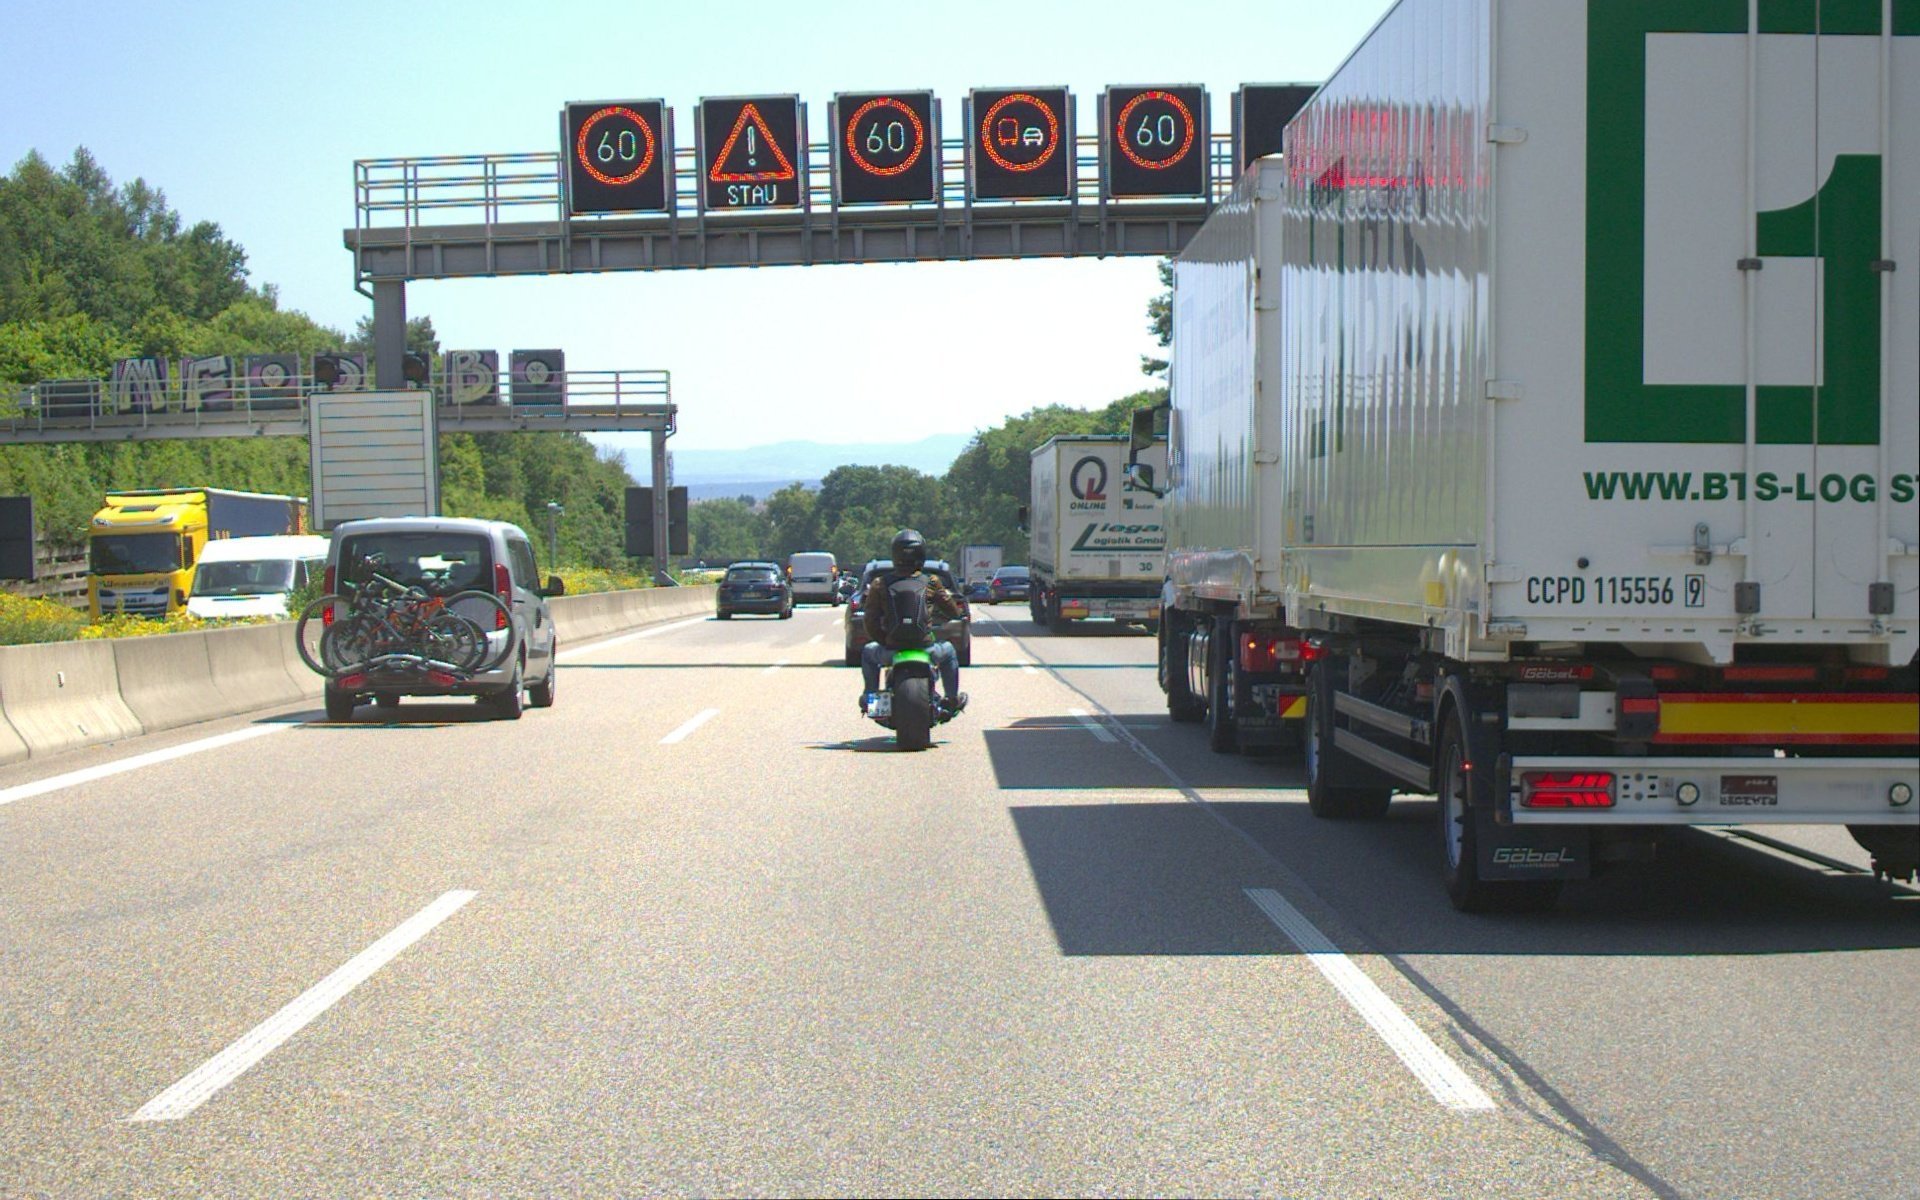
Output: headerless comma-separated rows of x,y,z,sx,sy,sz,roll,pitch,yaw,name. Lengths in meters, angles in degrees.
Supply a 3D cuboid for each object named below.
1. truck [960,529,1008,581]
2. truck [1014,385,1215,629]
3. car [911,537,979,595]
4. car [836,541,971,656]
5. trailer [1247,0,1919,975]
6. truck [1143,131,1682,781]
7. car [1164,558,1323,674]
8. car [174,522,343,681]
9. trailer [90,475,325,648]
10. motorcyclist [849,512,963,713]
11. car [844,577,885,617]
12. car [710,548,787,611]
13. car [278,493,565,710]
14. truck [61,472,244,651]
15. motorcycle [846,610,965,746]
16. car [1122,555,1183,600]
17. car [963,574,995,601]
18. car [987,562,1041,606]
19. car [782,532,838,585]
1.587,-3.042,232.290,3.067,3.335,9.652,1,1,-1,truck
3.163,-1.948,76.277,3.383,4.702,17.709,1,1,-1,truck
-0.427,-0.953,95.468,1.831,1.553,4.120,0,1,-1,car
-0.814,-0.056,49.334,1.845,1.552,4.440,0,1,-1,car
3.215,-0.907,16.400,2.680,4.161,10.066,0,1,-1,trailer
3.107,-0.970,26.766,2.680,4.045,10.626,0,1,-1,truck
4.029,0.191,49.533,1.845,1.552,4.392,0,1,-1,car
-12.424,-0.023,61.203,1.998,2.664,4.846,-2,1,-1,car
-20.185,-1.077,93.336,2.978,4.193,14.465,-3,1,0,trailer
-0.405,0.091,26.351,0.856,1.510,0.914,0,0,0,motorcyclist
-4.475,-0.160,161.423,1.831,1.804,4.120,0,1,-1,car
-5.372,-0.549,87.827,1.758,1.538,4.395,0,1,-1,car
-4.907,0.001,32.064,1.898,1.841,5.483,0,0,-1,car
-20.217,-0.981,86.472,2.951,4.188,6.458,-3,1,-1,truck
-0.401,0.575,26.306,0.862,0.978,2.131,0,0,0,motorcycle
6.724,-0.800,120.207,1.831,1.521,4.027,0,1,-1,car
1.115,-0.750,207.028,1.831,1.521,4.027,0,1,-1,car
1.939,-0.605,124.426,1.831,1.521,4.027,0,1,-1,car
-5.214,-1.460,120.165,1.831,1.804,4.120,0,1,-1,car
